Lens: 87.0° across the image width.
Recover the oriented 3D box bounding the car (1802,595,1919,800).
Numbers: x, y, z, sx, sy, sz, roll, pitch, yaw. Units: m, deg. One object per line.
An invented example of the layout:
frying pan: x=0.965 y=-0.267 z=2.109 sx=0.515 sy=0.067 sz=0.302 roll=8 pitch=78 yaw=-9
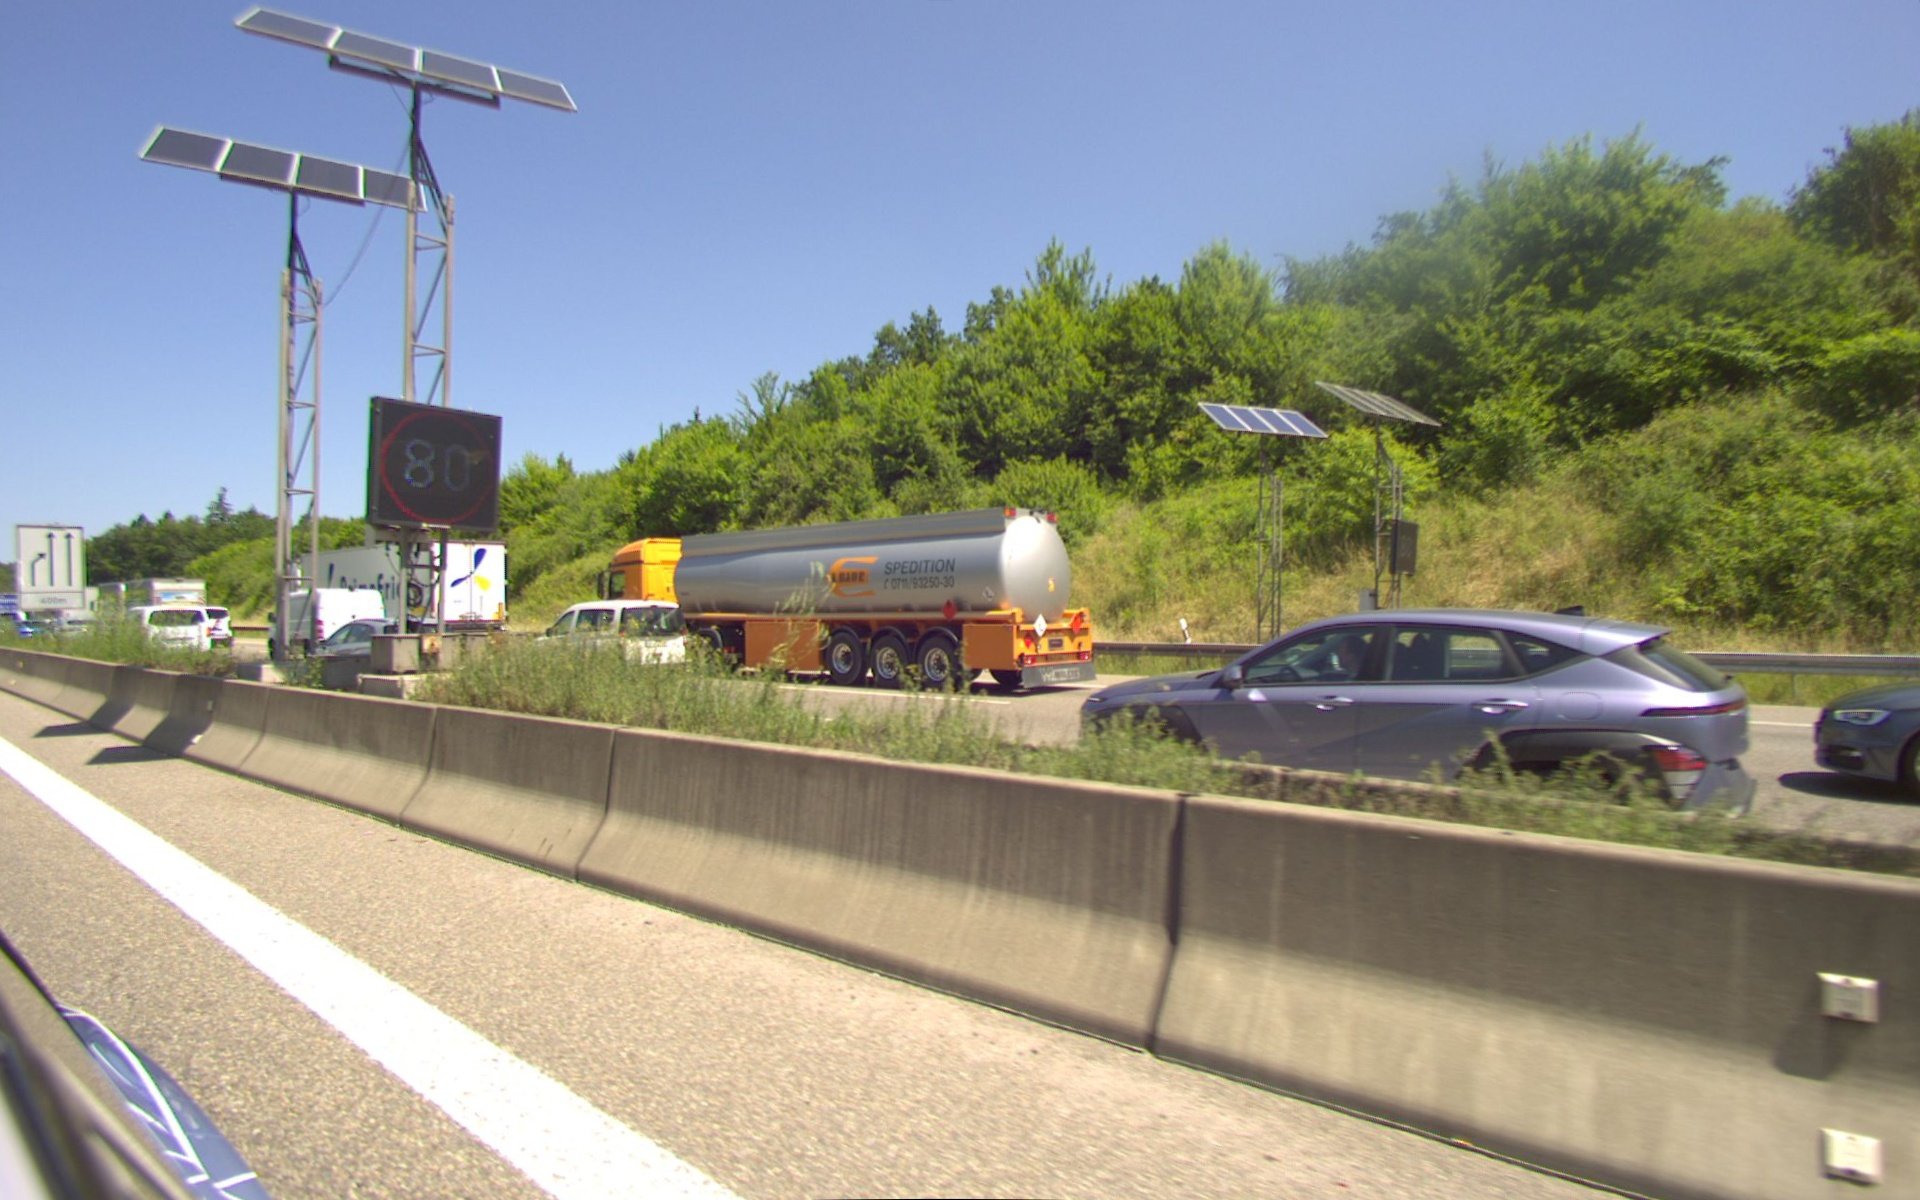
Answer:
car: x=9.004 y=0.710 z=7.076 sx=4.755 sy=1.508 sz=1.809 roll=0 pitch=0 yaw=40

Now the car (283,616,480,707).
car: x=-11.417 y=1.103 z=19.837 sx=4.755 sy=1.508 sz=1.809 roll=0 pitch=0 yaw=40

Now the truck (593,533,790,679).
truck: x=-7.032 y=0.189 z=26.198 sx=5.184 sy=3.391 sz=2.467 roll=-2 pitch=-1 yaw=42

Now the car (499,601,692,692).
car: x=-8.021 y=0.918 z=22.055 sx=4.755 sy=1.776 sz=1.809 roll=0 pitch=0 yaw=40

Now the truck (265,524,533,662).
truck: x=-22.797 y=-0.224 z=40.099 sx=17.373 sy=4.490 sz=3.658 roll=0 pitch=0 yaw=41

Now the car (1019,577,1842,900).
car: x=2.851 y=0.647 z=6.951 sx=4.755 sy=1.508 sz=1.809 roll=0 pitch=0 yaw=40

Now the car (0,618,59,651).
car: x=-46.718 y=1.698 z=50.568 sx=4.967 sy=1.489 sz=1.808 roll=0 pitch=0 yaw=40

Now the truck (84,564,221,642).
truck: x=-53.193 y=0.201 z=66.234 sx=19.443 sy=4.490 sz=3.658 roll=0 pitch=0 yaw=41

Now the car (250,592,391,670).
car: x=-21.487 y=0.951 z=33.851 sx=6.537 sy=2.402 sz=2.162 roll=0 pitch=0 yaw=40

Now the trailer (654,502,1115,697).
trailer: x=-2.309 y=0.097 z=22.063 sx=11.690 sy=3.319 sz=2.551 roll=-1 pitch=-1 yaw=41

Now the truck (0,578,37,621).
truck: x=-106.810 y=-0.017 z=112.893 sx=19.443 sy=4.490 sz=3.658 roll=0 pitch=0 yaw=41

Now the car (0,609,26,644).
car: x=-55.767 y=1.513 z=58.642 sx=4.967 sy=1.930 sz=1.808 roll=0 pitch=0 yaw=40

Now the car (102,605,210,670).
car: x=-26.968 y=1.183 z=33.871 sx=5.661 sy=1.992 sz=1.807 roll=0 pitch=0 yaw=41

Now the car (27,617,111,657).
car: x=-37.313 y=1.510 z=42.328 sx=5.394 sy=1.489 sz=1.808 roll=0 pitch=0 yaw=40

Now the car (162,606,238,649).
car: x=-37.661 y=1.291 z=50.075 sx=5.888 sy=1.955 sz=2.159 roll=0 pitch=0 yaw=44

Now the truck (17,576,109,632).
truck: x=-78.767 y=0.312 z=88.630 sx=19.443 sy=4.490 sz=3.658 roll=0 pitch=0 yaw=41

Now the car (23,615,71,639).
car: x=-60.524 y=1.783 z=67.083 sx=4.031 sy=1.481 sz=1.814 roll=0 pitch=0 yaw=39
